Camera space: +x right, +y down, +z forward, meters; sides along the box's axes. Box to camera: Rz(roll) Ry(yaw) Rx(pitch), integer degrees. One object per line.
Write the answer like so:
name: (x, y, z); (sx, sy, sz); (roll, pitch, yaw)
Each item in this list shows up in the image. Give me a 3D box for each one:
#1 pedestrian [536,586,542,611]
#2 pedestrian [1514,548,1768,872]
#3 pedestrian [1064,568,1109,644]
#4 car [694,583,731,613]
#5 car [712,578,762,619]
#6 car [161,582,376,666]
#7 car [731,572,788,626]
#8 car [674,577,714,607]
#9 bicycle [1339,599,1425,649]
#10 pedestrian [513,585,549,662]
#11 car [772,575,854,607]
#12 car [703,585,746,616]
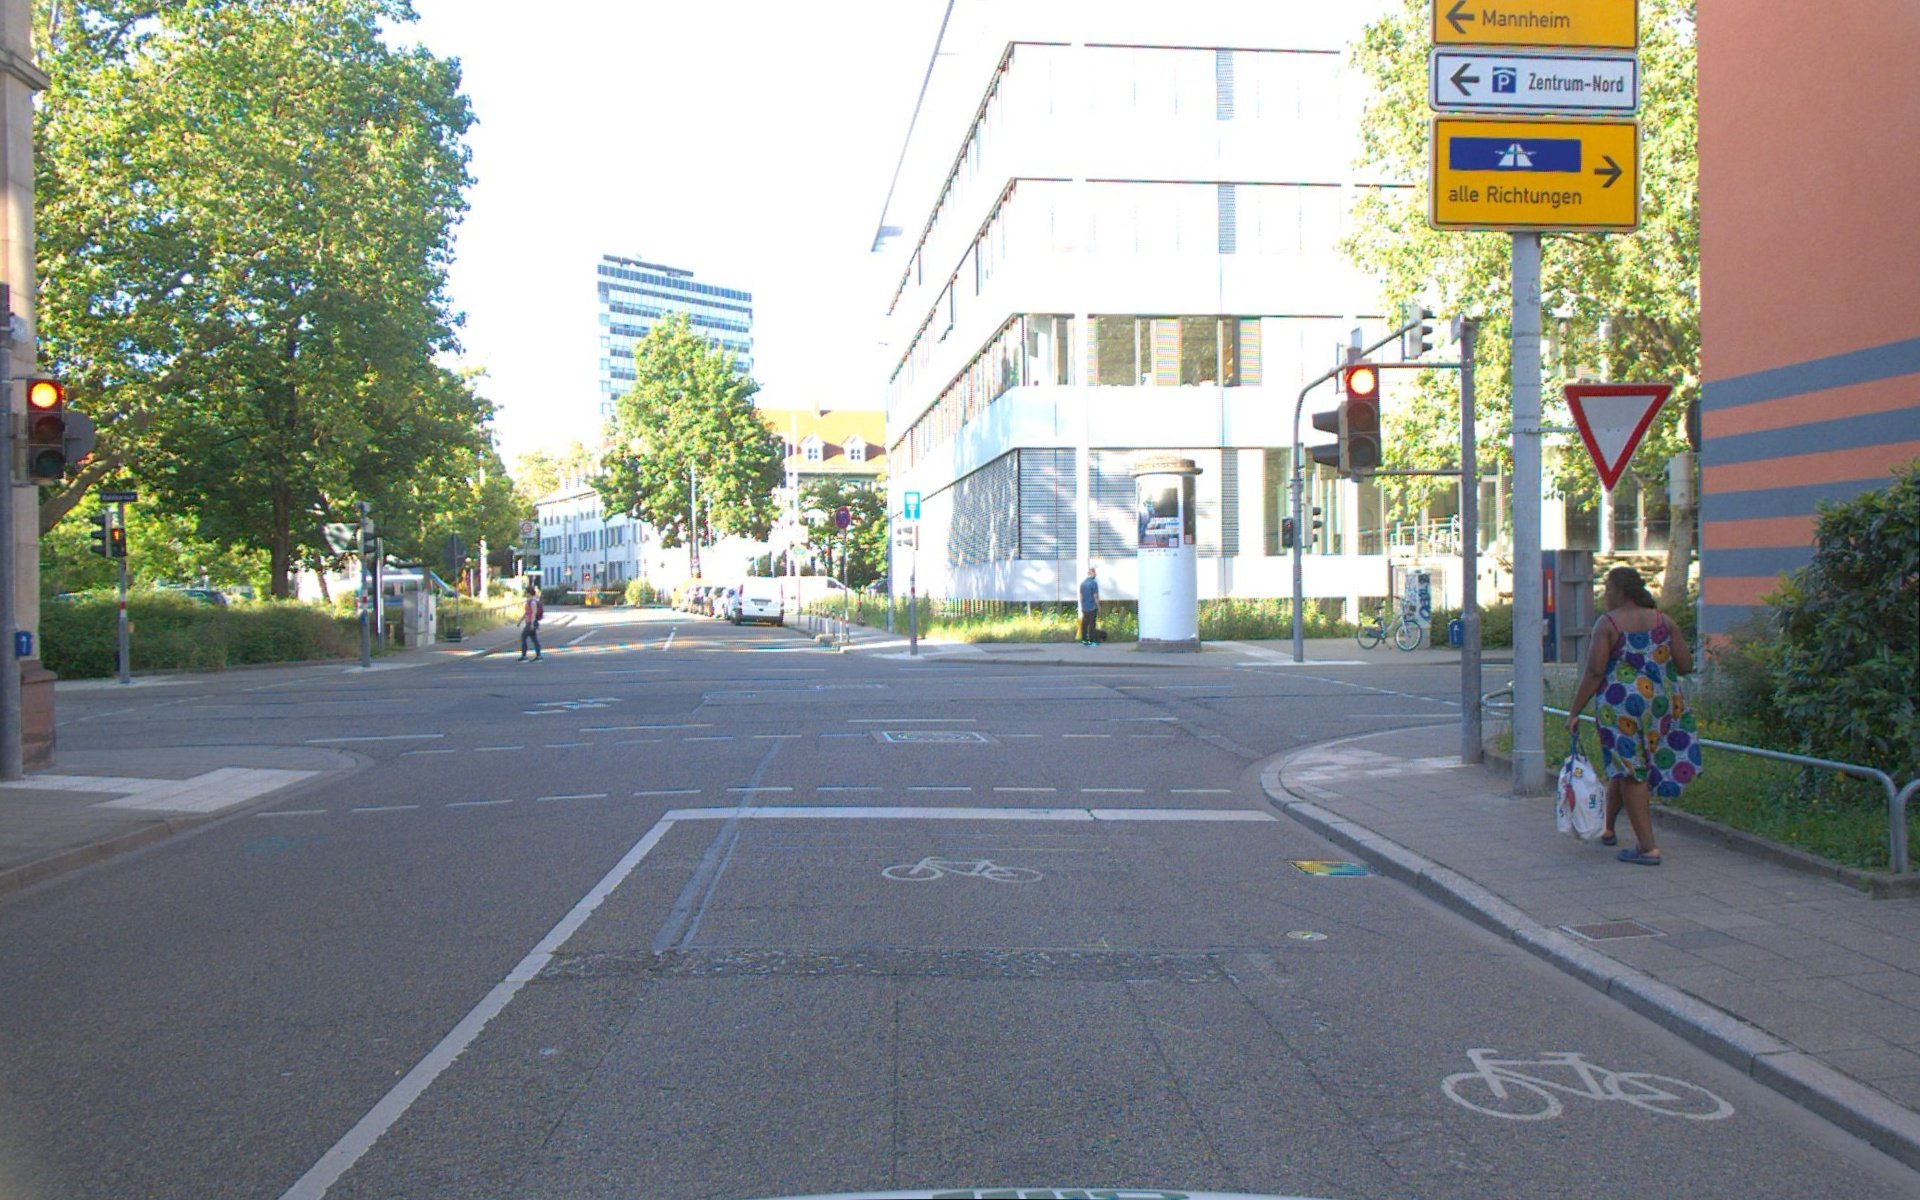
pedestrian: (-26.579, -0.116, 104.388); (0.373, 1.561, 0.444); (-1, 0, -13)
pedestrian: (3.651, 0.562, 8.921); (0.936, 1.600, 0.749); (-4, 0, -7)
pedestrian: (2.970, 0.145, 38.892); (0.798, 1.766, 0.650); (-1, 0, 45)
car: (-12.845, -0.113, 85.626); (1.674, 1.490, 4.226); (-1, 1, -11)
car: (-10.332, -0.089, 76.315); (1.913, 1.826, 4.224); (-1, 1, -13)
car: (-15.761, 0.516, 37.889); (4.146, 1.808, 1.901); (-1, 0, -9)
car: (-7.858, -0.052, 64.506); (2.029, 1.997, 4.229); (-1, 1, -9)
car: (-15.375, -0.466, 95.410); (2.063, 1.687, 4.463); (-1, 1, -11)
bicycle: (9.226, 0.509, 36.231); (0.460, 1.067, 1.886); (-1, 1, -42)
pedestrian: (-9.297, 0.505, 35.847); (0.699, 1.627, 0.615); (-1, 0, -12)
car: (-9.132, -0.563, 102.671); (4.804, 1.905, 1.990); (1, -1, -17)
car: (-11.560, 0.000, 81.145); (1.675, 1.449, 4.223); (-1, 1, -14)
